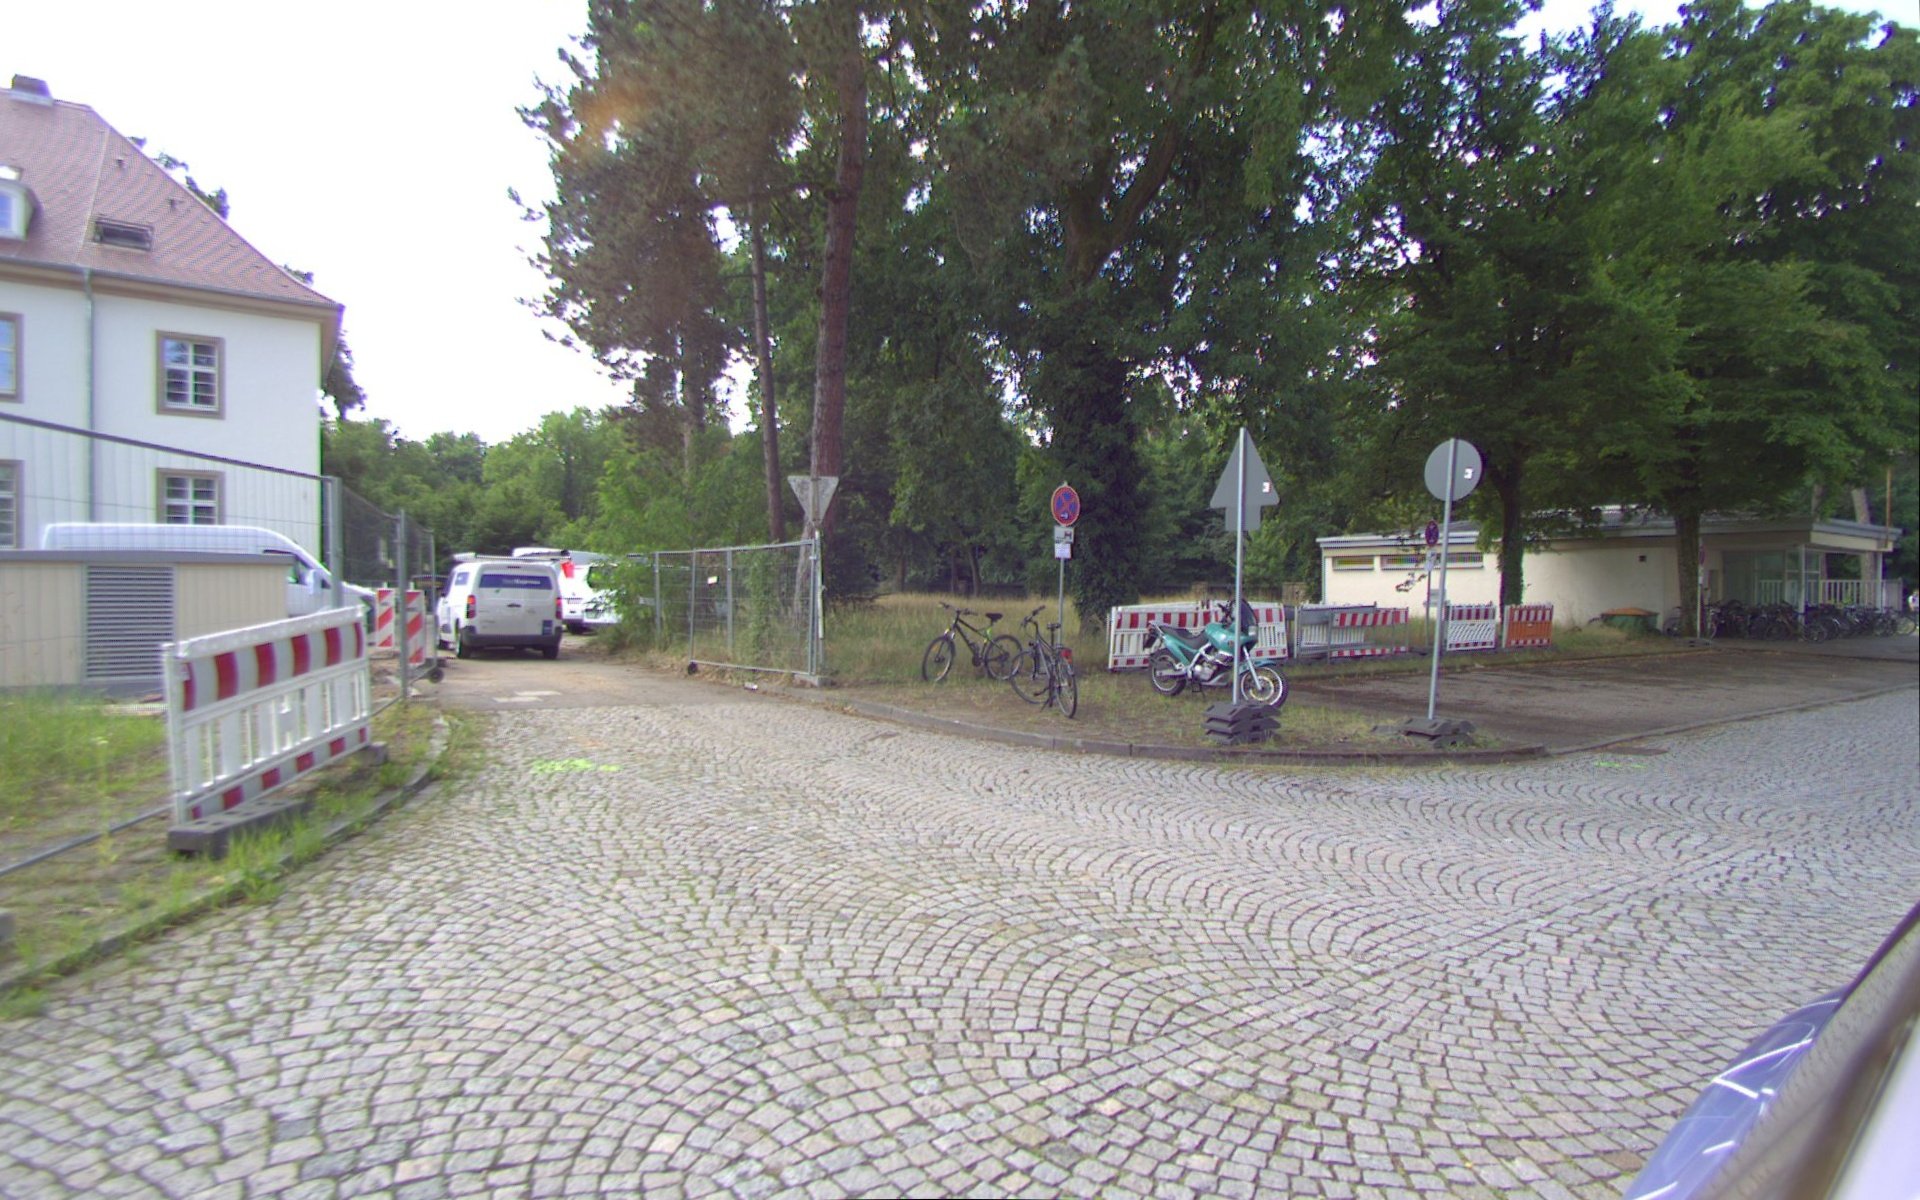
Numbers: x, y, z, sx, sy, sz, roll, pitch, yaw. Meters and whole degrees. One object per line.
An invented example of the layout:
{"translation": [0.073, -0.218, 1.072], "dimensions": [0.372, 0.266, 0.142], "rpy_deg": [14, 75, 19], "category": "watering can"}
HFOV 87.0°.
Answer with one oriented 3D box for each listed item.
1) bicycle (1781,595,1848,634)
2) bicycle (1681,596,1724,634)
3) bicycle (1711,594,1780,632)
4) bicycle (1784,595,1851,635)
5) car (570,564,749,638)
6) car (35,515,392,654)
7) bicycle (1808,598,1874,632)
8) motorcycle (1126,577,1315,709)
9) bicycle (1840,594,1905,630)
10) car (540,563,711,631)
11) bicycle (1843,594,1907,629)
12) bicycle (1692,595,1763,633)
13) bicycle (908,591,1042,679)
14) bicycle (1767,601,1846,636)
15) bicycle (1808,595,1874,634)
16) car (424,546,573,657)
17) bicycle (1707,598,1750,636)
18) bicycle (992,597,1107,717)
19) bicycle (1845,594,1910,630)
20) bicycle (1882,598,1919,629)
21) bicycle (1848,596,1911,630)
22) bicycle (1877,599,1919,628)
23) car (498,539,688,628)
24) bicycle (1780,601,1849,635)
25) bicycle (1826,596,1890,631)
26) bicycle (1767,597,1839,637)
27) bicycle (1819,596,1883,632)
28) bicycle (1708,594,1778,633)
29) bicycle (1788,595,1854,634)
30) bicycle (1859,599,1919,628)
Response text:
{"translation": [27.697, 0.456, 32.834], "dimensions": [1.628, 1.204, 0.466], "rpy_deg": [3, 2, 41], "category": "bicycle"}
{"translation": [22.950, 0.458, 31.277], "dimensions": [1.605, 1.130, 0.598], "rpy_deg": [0, 2, -37], "category": "bicycle"}
{"translation": [26.686, 0.426, 34.404], "dimensions": [0.597, 1.179, 1.744], "rpy_deg": [0, 2, -40], "category": "bicycle"}
{"translation": [28.145, 0.480, 33.239], "dimensions": [1.629, 1.204, 0.413], "rpy_deg": [3, 2, 42], "category": "bicycle"}
{"translation": [-8.146, 0.022, 27.939], "dimensions": [1.980, 1.848, 4.829], "rpy_deg": [-1, 0, 27], "category": "car"}
{"translation": [-15.351, -0.304, 21.270], "dimensions": [5.796, 2.588, 2.000], "rpy_deg": [-1, -1, -34], "category": "car"}
{"translation": [29.823, 0.506, 34.276], "dimensions": [1.628, 1.063, 0.329], "rpy_deg": [3, 2, 40], "category": "bicycle"}
{"translation": [3.217, 0.473, 12.731], "dimensions": [0.743, 1.504, 2.281], "rpy_deg": [0, 1, -40], "category": "motorcycle"}
{"translation": [31.672, 0.405, 35.141], "dimensions": [0.320, 1.155, 1.615], "rpy_deg": [0, 2, -43], "category": "bicycle"}
{"translation": [-9.779, -0.082, 30.010], "dimensions": [1.980, 1.848, 4.829], "rpy_deg": [-1, 0, 27], "category": "car"}
{"translation": [32.276, 0.407, 35.722], "dimensions": [0.350, 1.155, 1.615], "rpy_deg": [0, 2, -43], "category": "bicycle"}
{"translation": [25.177, 0.445, 33.229], "dimensions": [0.597, 1.179, 1.744], "rpy_deg": [0, 2, -40], "category": "bicycle"}
{"translation": [0.233, 0.488, 14.552], "dimensions": [1.868, 1.184, 0.644], "rpy_deg": [1, 0, -34], "category": "bicycle"}
{"translation": [26.652, 0.572, 31.896], "dimensions": [1.727, 0.988, 0.752], "rpy_deg": [2, 2, 25], "category": "bicycle"}
{"translation": [29.434, 0.463, 33.824], "dimensions": [1.629, 1.204, 0.491], "rpy_deg": [3, 2, 42], "category": "bicycle"}
{"translation": [-9.355, 0.008, 20.281], "dimensions": [1.870, 1.945, 4.875], "rpy_deg": [1, 0, -34], "category": "car"}
{"translation": [23.357, 0.505, 30.755], "dimensions": [1.605, 1.130, 0.598], "rpy_deg": [0, 2, -37], "category": "bicycle"}
{"translation": [0.974, 0.594, 11.583], "dimensions": [0.642, 1.212, 1.909], "rpy_deg": [0, 1, -16], "category": "bicycle"}
{"translation": [32.008, 0.401, 35.320], "dimensions": [0.320, 1.155, 1.615], "rpy_deg": [0, 2, -43], "category": "bicycle"}
{"translation": [33.631, 0.483, 36.026], "dimensions": [1.145, 1.076, 0.283], "rpy_deg": [0, 0, 34], "category": "bicycle"}
{"translation": [32.839, 0.448, 36.145], "dimensions": [0.350, 1.155, 1.615], "rpy_deg": [0, 2, -43], "category": "bicycle"}
{"translation": [33.890, 0.480, 36.323], "dimensions": [1.393, 1.059, 0.336], "rpy_deg": [0, 0, 28], "category": "bicycle"}
{"translation": [-11.707, -0.486, 32.921], "dimensions": [1.978, 2.611, 6.369], "rpy_deg": [-1, 0, 24], "category": "car"}
{"translation": [27.284, 0.566, 32.336], "dimensions": [1.618, 0.988, 0.320], "rpy_deg": [2, 1, 25], "category": "bicycle"}
{"translation": [31.146, 0.452, 35.114], "dimensions": [0.320, 1.155, 1.615], "rpy_deg": [0, 2, -43], "category": "bicycle"}
{"translation": [26.013, 0.511, 31.259], "dimensions": [1.675, 1.122, 0.333], "rpy_deg": [3, 2, 41], "category": "bicycle"}
{"translation": [30.596, 0.459, 34.752], "dimensions": [0.320, 1.155, 1.593], "rpy_deg": [0, 2, -43], "category": "bicycle"}
{"translation": [26.066, 0.433, 33.719], "dimensions": [0.597, 1.179, 1.744], "rpy_deg": [0, 2, -40], "category": "bicycle"}
{"translation": [28.598, 0.475, 33.638], "dimensions": [1.629, 1.204, 0.413], "rpy_deg": [3, 2, 42], "category": "bicycle"}
{"translation": [34.025, 0.482, 36.965], "dimensions": [1.725, 1.059, 0.452], "rpy_deg": [0, 0, 16], "category": "bicycle"}
